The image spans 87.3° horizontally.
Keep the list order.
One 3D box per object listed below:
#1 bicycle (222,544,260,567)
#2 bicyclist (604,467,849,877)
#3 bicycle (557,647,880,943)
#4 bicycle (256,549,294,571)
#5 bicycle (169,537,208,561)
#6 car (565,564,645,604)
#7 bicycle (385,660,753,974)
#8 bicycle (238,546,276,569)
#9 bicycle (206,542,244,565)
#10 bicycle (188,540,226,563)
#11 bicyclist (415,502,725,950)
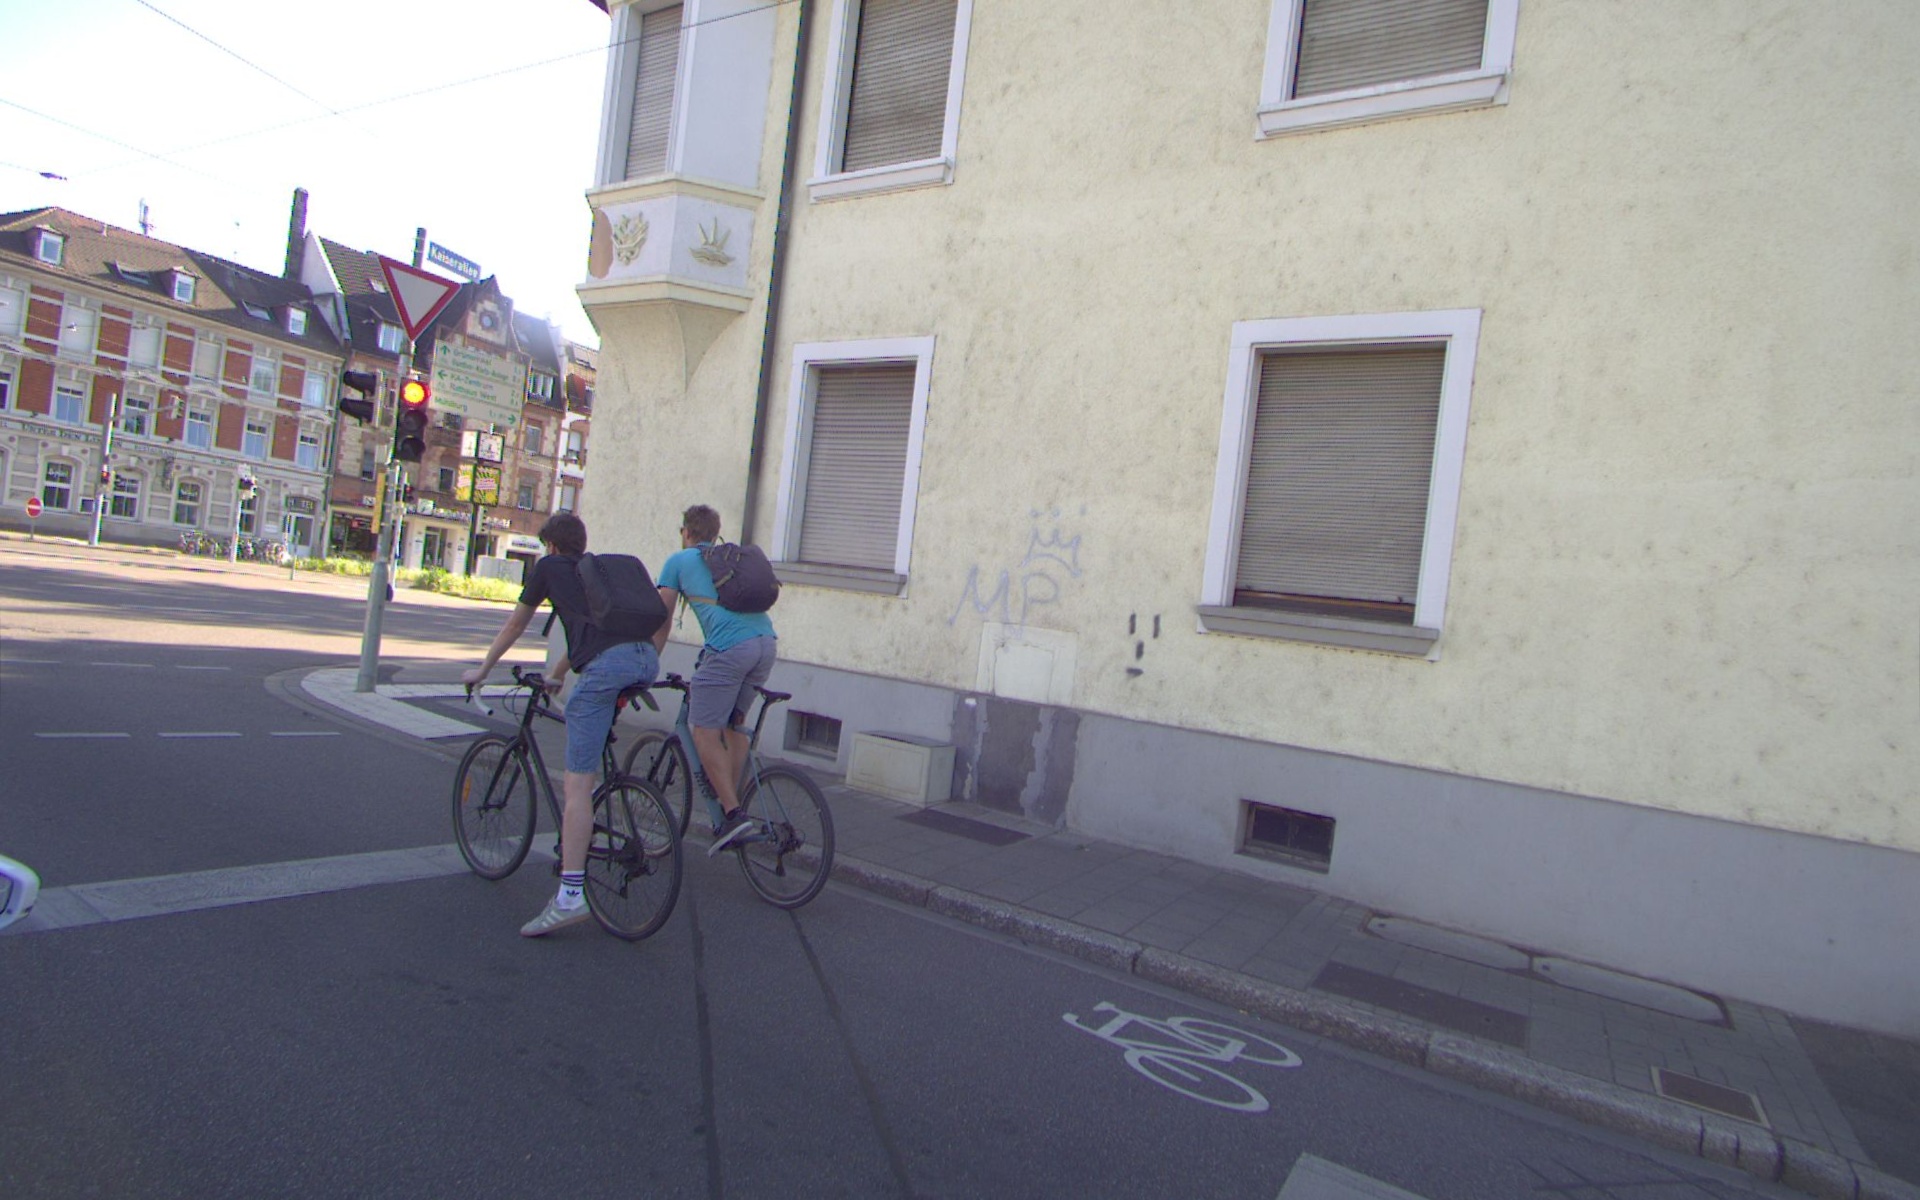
[{"bbox_3d":[-33.847,-2.094,47.365,2.125,0.850,0.659,6,-2,33],"label":"bicycle"},{"bbox_3d":[-1.255,0.343,5.359,0.930,1.958,0.518,10,2,35],"label":"bicyclist"},{"bbox_3d":[-1.342,0.951,5.370,1.767,1.104,0.518,9,1,36],"label":"bicycle"},{"bbox_3d":[-33.104,-1.946,48.600,2.125,0.850,0.659,6,-2,33],"label":"bicycle"},{"bbox_3d":[-34.871,-2.304,45.480,2.125,0.850,0.659,6,-2,33],"label":"bicycle"},{"bbox_3d":[-23.013,-1.002,65.326,1.968,2.038,4.430,7,-1,34],"label":"car"},{"bbox_3d":[-1.794,0.875,4.508,1.721,0.982,0.519,7,0,32],"label":"bicycle"},{"bbox_3d":[-33.492,-2.026,47.895,2.125,0.850,0.659,6,-2,33],"label":"bicycle"},{"bbox_3d":[-34.181,-2.162,46.768,2.125,0.850,0.659,6,-2,33],"label":"bicycle"},{"bbox_3d":[-34.555,-2.236,46.147,2.125,0.850,0.659,6,-2,33],"label":"bicycle"},{"bbox_3d":[-1.746,0.492,4.487,1.098,1.722,0.573,7,0,32],"label":"bicyclist"}]
